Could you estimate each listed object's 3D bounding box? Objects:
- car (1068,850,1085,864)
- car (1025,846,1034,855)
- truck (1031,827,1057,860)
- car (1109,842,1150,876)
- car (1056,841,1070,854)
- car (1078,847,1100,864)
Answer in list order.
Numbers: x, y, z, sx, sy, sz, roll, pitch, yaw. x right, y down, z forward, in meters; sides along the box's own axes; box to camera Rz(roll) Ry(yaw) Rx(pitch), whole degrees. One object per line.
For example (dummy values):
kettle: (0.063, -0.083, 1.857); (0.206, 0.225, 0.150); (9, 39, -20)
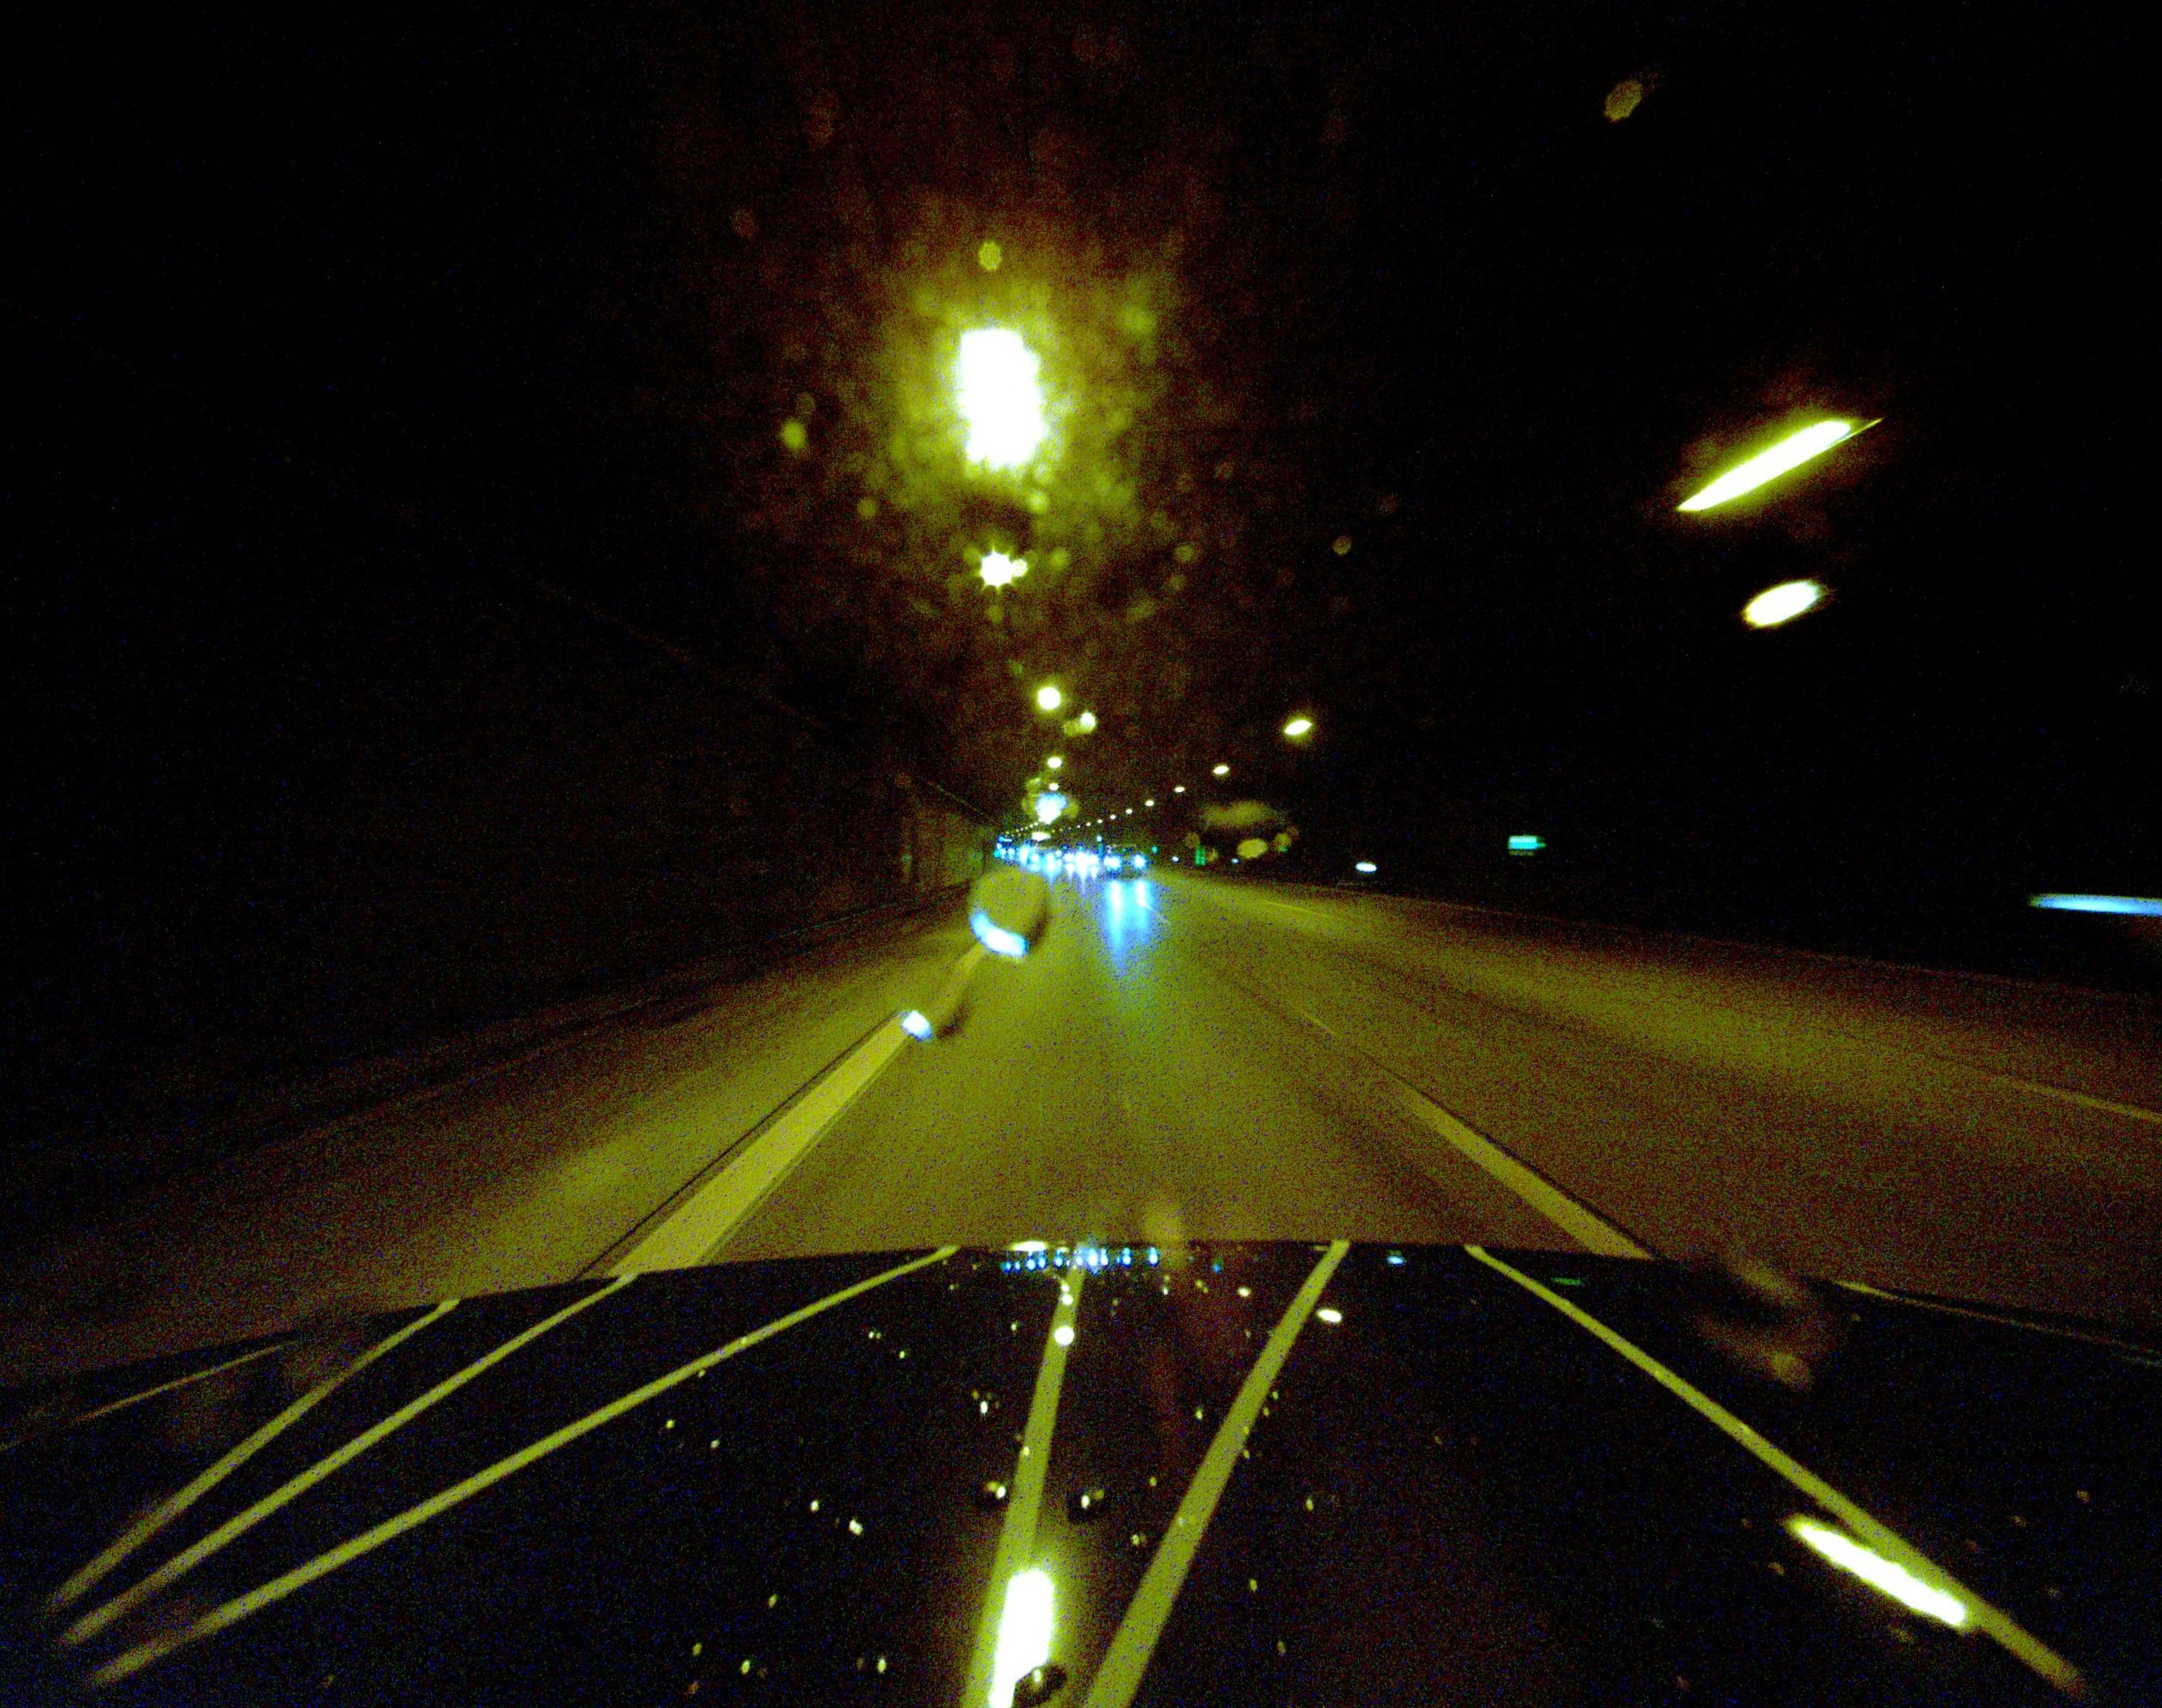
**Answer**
car: (-0.631, 0.331, 93.167); (1.759, 1.567, 3.998); (-2, 0, -5)
car: (-11.359, -0.754, 167.218); (1.999, 1.729, 3.997); (-2, 1, -5)
truck: (-4.887, -1.417, 99.224); (3.143, 4.137, 7.383); (-2, 2, -5)
car: (2.979, 0.327, 47.688); (1.999, 2.001, 4.359); (-1, -1, -3)
car: (-2.922, -1.037, 121.990); (1.999, 2.003, 3.996); (-2, 2, -5)
car: (0.751, 0.151, 76.683); (1.911, 1.637, 3.999); (-2, 0, -3)
